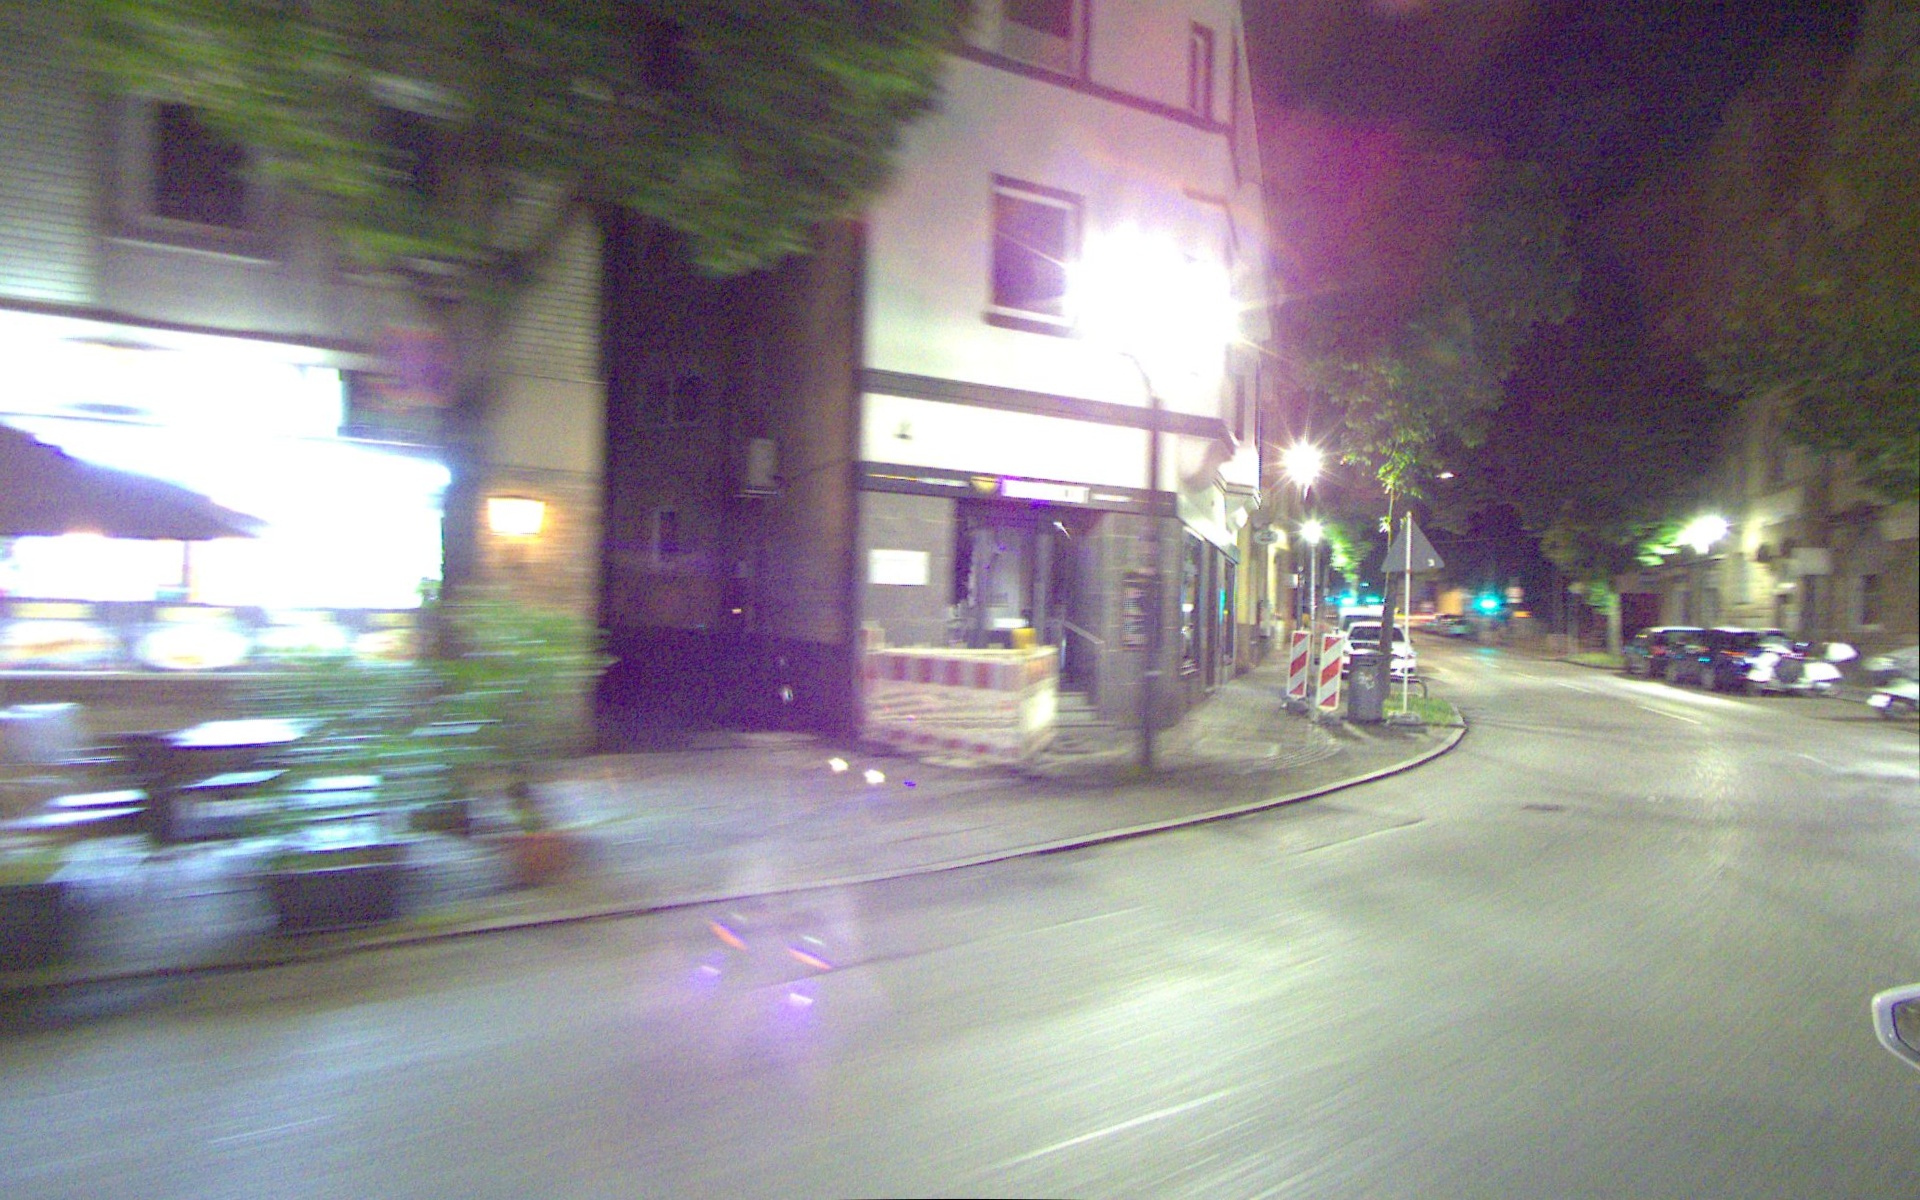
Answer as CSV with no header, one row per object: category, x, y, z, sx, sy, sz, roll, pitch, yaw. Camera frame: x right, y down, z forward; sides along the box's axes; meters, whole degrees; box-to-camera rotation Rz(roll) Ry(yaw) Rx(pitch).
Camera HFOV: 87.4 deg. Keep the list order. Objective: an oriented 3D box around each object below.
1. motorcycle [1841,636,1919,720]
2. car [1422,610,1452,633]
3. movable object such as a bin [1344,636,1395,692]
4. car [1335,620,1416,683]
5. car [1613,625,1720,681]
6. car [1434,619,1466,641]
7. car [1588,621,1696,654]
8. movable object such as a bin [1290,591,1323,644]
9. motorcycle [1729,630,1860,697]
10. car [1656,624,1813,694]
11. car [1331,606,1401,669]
motorcycle,16.297,1.330,17.293,1.912,1.371,0.760,1,0,-15
car,40.550,1.818,85.468,1.706,1.880,4.317,1,0,18
movable object such as a bin,8.254,1.290,20.245,0.679,1.063,0.622,3,-1,-20
car,11.185,1.330,27.238,1.809,1.469,4.880,2,0,21
car,20.818,1.499,29.769,1.708,1.473,3.999,1,-1,22
car,36.704,2.231,75.330,1.711,1.497,4.000,-1,-1,20
car,32.769,1.784,48.402,3.947,1.441,1.853,1,-2,19
movable object such as a bin,18.289,0.909,52.941,1.546,2.661,3.909,0,0,21
motorcycle,18.342,1.377,22.127,2.017,1.425,0.925,0,0,11
car,18.999,1.370,24.874,1.703,1.521,4.468,1,-1,19
car,13.336,1.186,33.217,1.852,1.868,4.815,2,0,19
